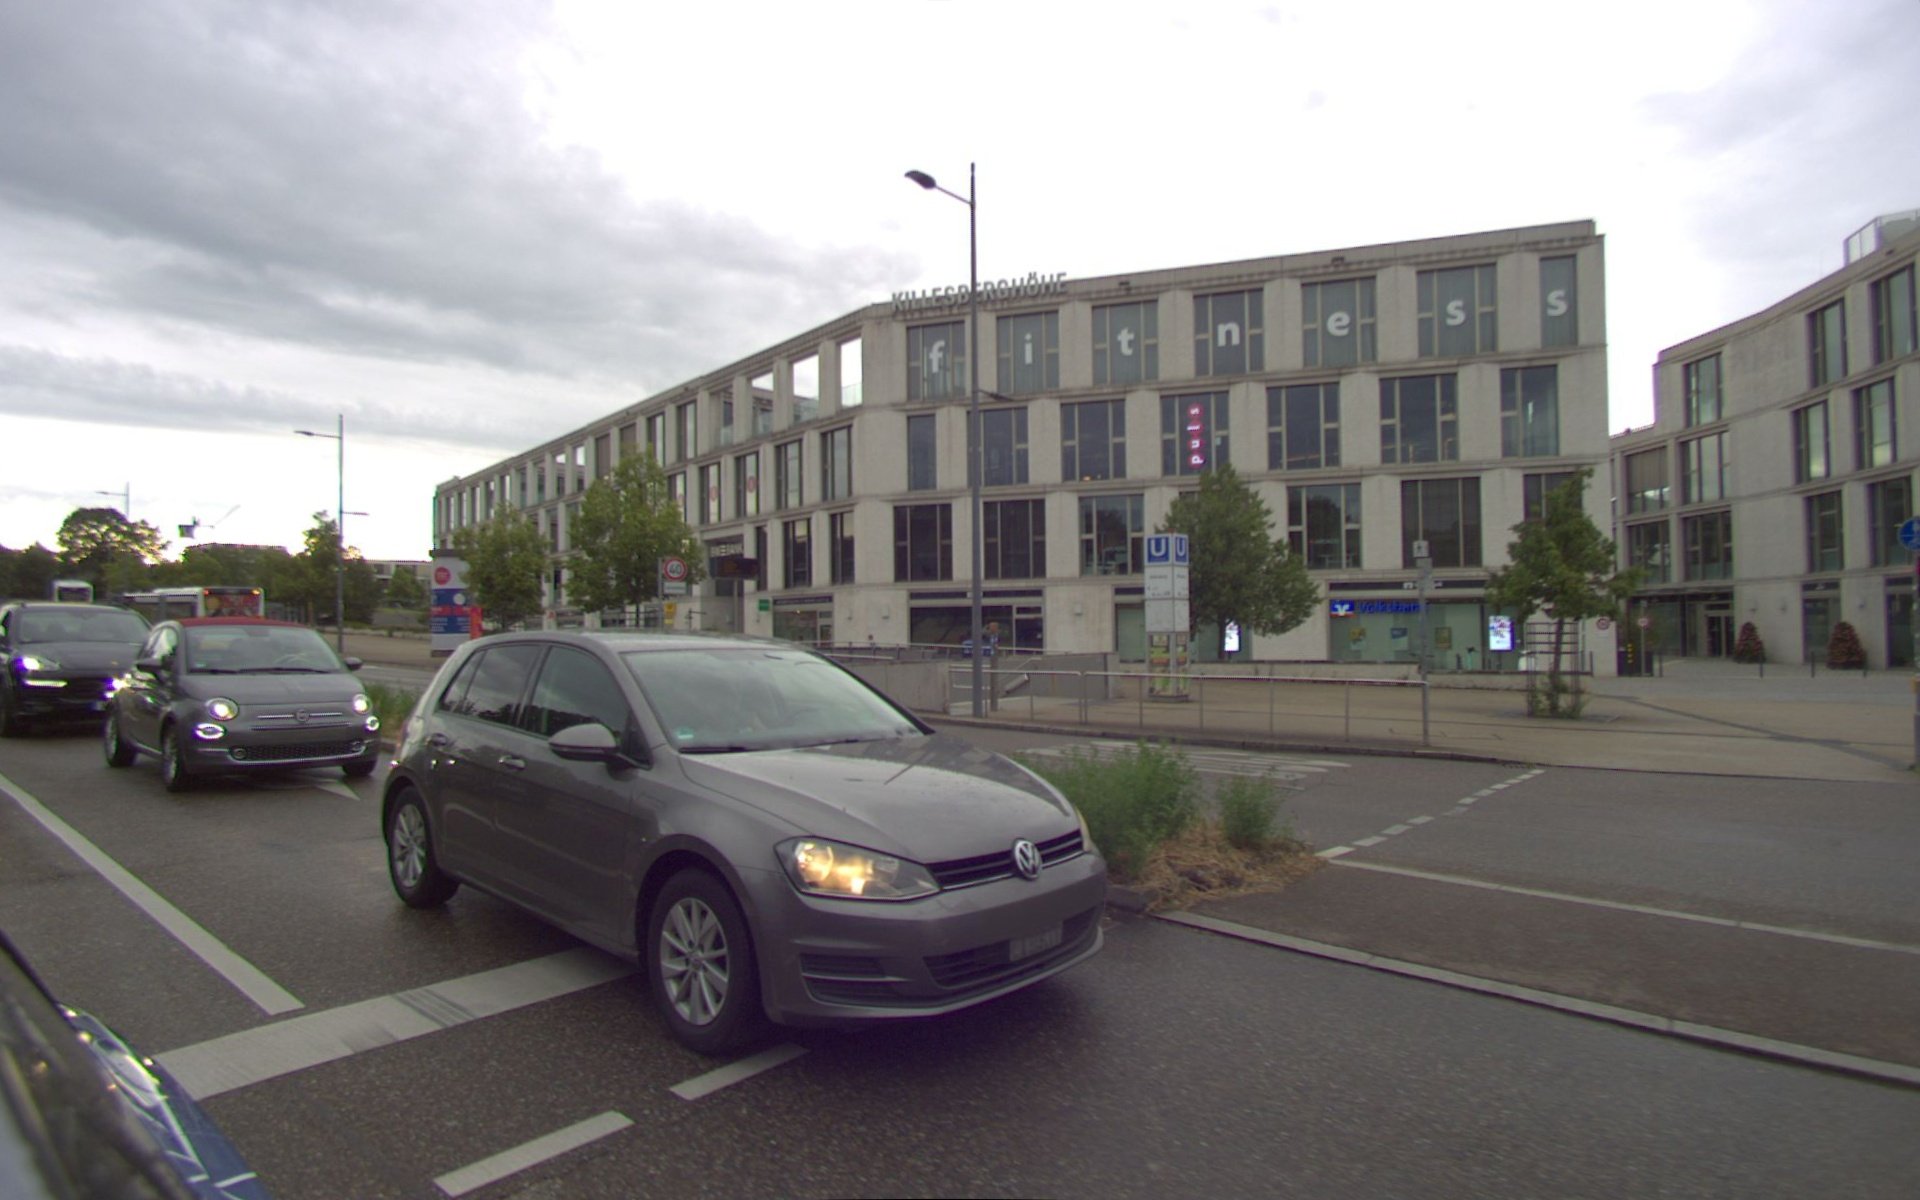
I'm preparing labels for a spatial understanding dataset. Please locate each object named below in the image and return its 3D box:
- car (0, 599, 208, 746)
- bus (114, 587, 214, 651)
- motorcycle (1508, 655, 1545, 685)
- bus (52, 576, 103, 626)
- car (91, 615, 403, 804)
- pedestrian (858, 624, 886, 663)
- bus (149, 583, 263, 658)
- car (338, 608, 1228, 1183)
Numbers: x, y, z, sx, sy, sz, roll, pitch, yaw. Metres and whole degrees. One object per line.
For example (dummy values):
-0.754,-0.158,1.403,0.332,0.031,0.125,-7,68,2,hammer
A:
-12.070,0.864,13.713,4.612,1.671,1.910,-1,-2,39,car
-43.153,0.968,54.712,9.911,3.205,2.658,-1,0,42,bus
15.325,1.890,27.398,0.517,0.746,1.098,0,0,9,motorcycle
-81.059,0.119,93.205,2.717,4.185,19.383,0,0,-39,bus
-6.966,0.900,9.779,3.503,1.492,1.610,-1,-2,40,car
-3.653,1.800,42.094,0.907,1.617,0.760,0,-2,18,pedestrian
-36.123,0.923,48.309,9.206,3.236,2.723,-1,0,43,bus
-1.162,0.810,4.776,4.374,1.492,1.797,-1,-2,41,car
